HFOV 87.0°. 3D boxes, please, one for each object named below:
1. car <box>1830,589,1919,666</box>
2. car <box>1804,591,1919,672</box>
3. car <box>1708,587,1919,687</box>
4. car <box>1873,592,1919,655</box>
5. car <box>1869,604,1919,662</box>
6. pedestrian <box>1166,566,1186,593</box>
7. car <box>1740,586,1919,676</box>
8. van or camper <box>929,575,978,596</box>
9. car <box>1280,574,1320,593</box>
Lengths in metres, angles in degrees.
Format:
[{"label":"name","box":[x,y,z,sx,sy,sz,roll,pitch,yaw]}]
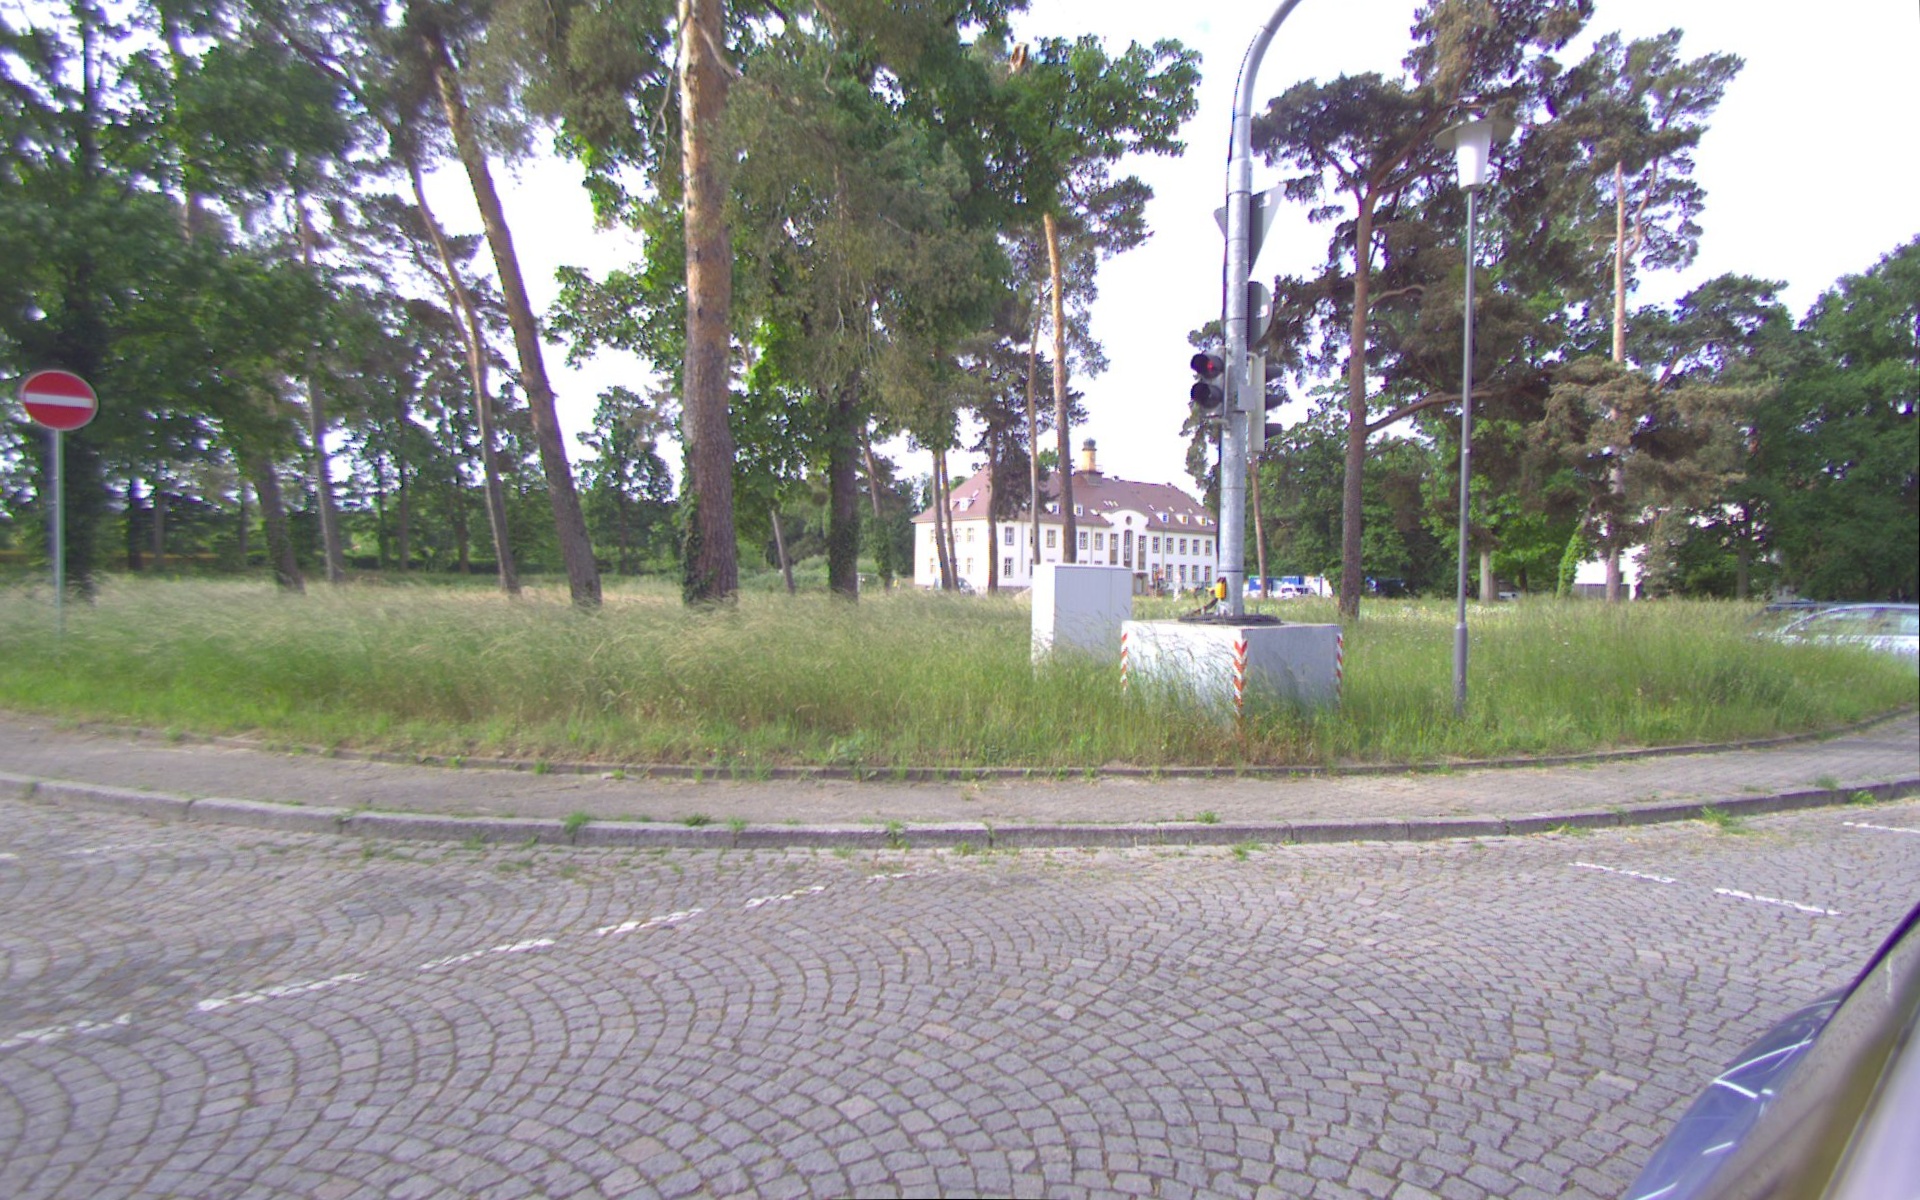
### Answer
[{"label":"car","box":[20.605,0.594,20.684,1.762,1.531,3.937,0,2,-34]},{"label":"car","box":[18.936,0.626,19.115,1.762,1.463,4.272,0,2,-34]},{"label":"car","box":[14.642,0.556,16.147,1.763,1.436,4.000,0,2,-36]},{"label":"car","box":[24.384,0.600,23.879,1.763,1.494,3.936,0,2,-36]},{"label":"car","box":[22.638,0.791,22.031,1.763,1.250,3.936,0,2,-36]},{"label":"pedestrian","box":[17.467,-1.649,81.763,1.036,2.205,1.184,0,1,-37]},{"label":"car","box":[16.714,0.542,17.627,1.763,1.463,4.633,0,2,-37]},{"label":"van or camper","box":[-0.845,-1.753,118.639,2.421,2.335,6.122,0,2,-39]},{"label":"car","box":[38.802,-1.858,115.493,4.748,2.039,2.165,0,1,-39]}]
